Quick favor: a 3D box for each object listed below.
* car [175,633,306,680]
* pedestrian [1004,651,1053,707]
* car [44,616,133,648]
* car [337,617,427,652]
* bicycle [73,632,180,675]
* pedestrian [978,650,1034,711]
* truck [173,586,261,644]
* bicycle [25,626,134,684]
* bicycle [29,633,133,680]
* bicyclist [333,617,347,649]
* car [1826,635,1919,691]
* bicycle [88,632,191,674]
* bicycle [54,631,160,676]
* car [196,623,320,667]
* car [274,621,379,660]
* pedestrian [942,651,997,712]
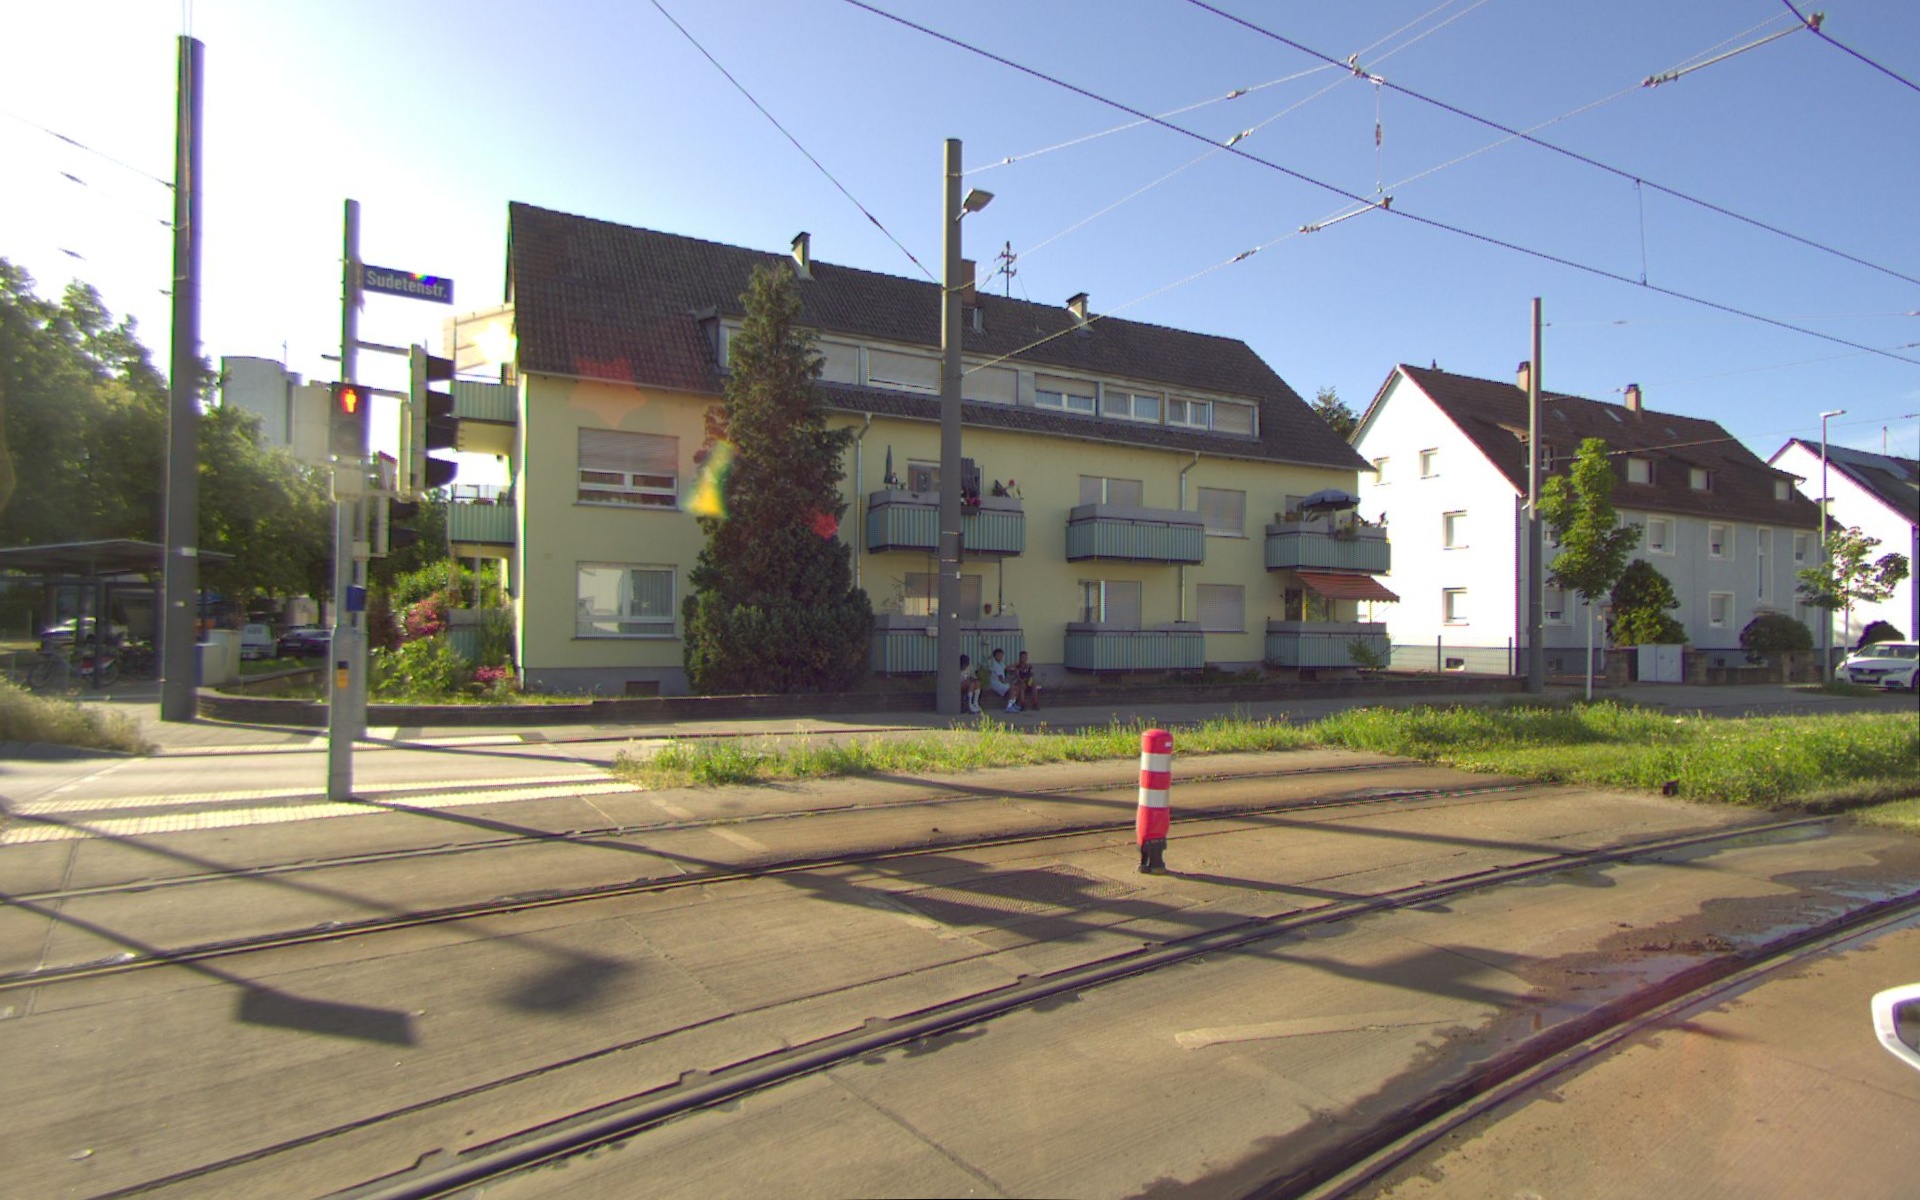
[{"bbox_3d":[-25.990,2.045,36.418,3.474,1.553,1.571,3,-2,-20],"label":"car"},{"bbox_3d":[1.314,1.494,19.210,0.713,1.019,0.592,0,-3,39],"label":"pedestrian"},{"bbox_3d":[-51.892,1.903,59.945,1.967,1.796,5.043,3,-2,-16],"label":"car"},{"bbox_3d":[-28.186,1.705,49.076,3.474,1.553,1.571,3,-2,-20],"label":"car"},{"bbox_3d":[-21.418,1.385,25.852,1.952,1.041,0.692,3,-2,-24],"label":"bicycle"},{"bbox_3d":[0.859,1.482,18.720,0.805,1.078,0.626,1,-2,30],"label":"pedestrian"},{"bbox_3d":[-56.737,1.181,76.943,3.033,4.045,7.972,3,-2,-20],"label":"truck"},{"bbox_3d":[-19.748,1.237,22.565,1.648,1.223,0.685,3,-2,-24],"label":"bicycle"},{"bbox_3d":[-20.610,1.320,23.587,1.672,1.041,0.596,3,-2,-24],"label":"bicycle"},{"bbox_3d":[-34.970,1.873,56.676,0.597,1.736,0.541,1,-5,-27],"label":"bicyclist"},{"bbox_3d":[27.439,1.810,29.394,4.158,1.538,1.687,1,-2,-26],"label":"car"},{"bbox_3d":[-21.800,1.405,26.720,1.952,1.041,0.685,3,-2,-24],"label":"bicycle"},{"bbox_3d":[-21.108,1.325,24.899,1.821,1.041,0.685,3,-2,-24],"label":"bicycle"},{"bbox_3d":[-26.574,1.714,38.143,3.474,1.553,1.571,3,-2,-20],"label":"car"},{"bbox_3d":[-27.166,1.740,43.187,3.474,1.553,1.571,3,-2,-20],"label":"car"},{"bbox_3d":[0.169,1.462,18.247,0.679,1.060,0.814,2,-2,-29],"label":"pedestrian"}]
